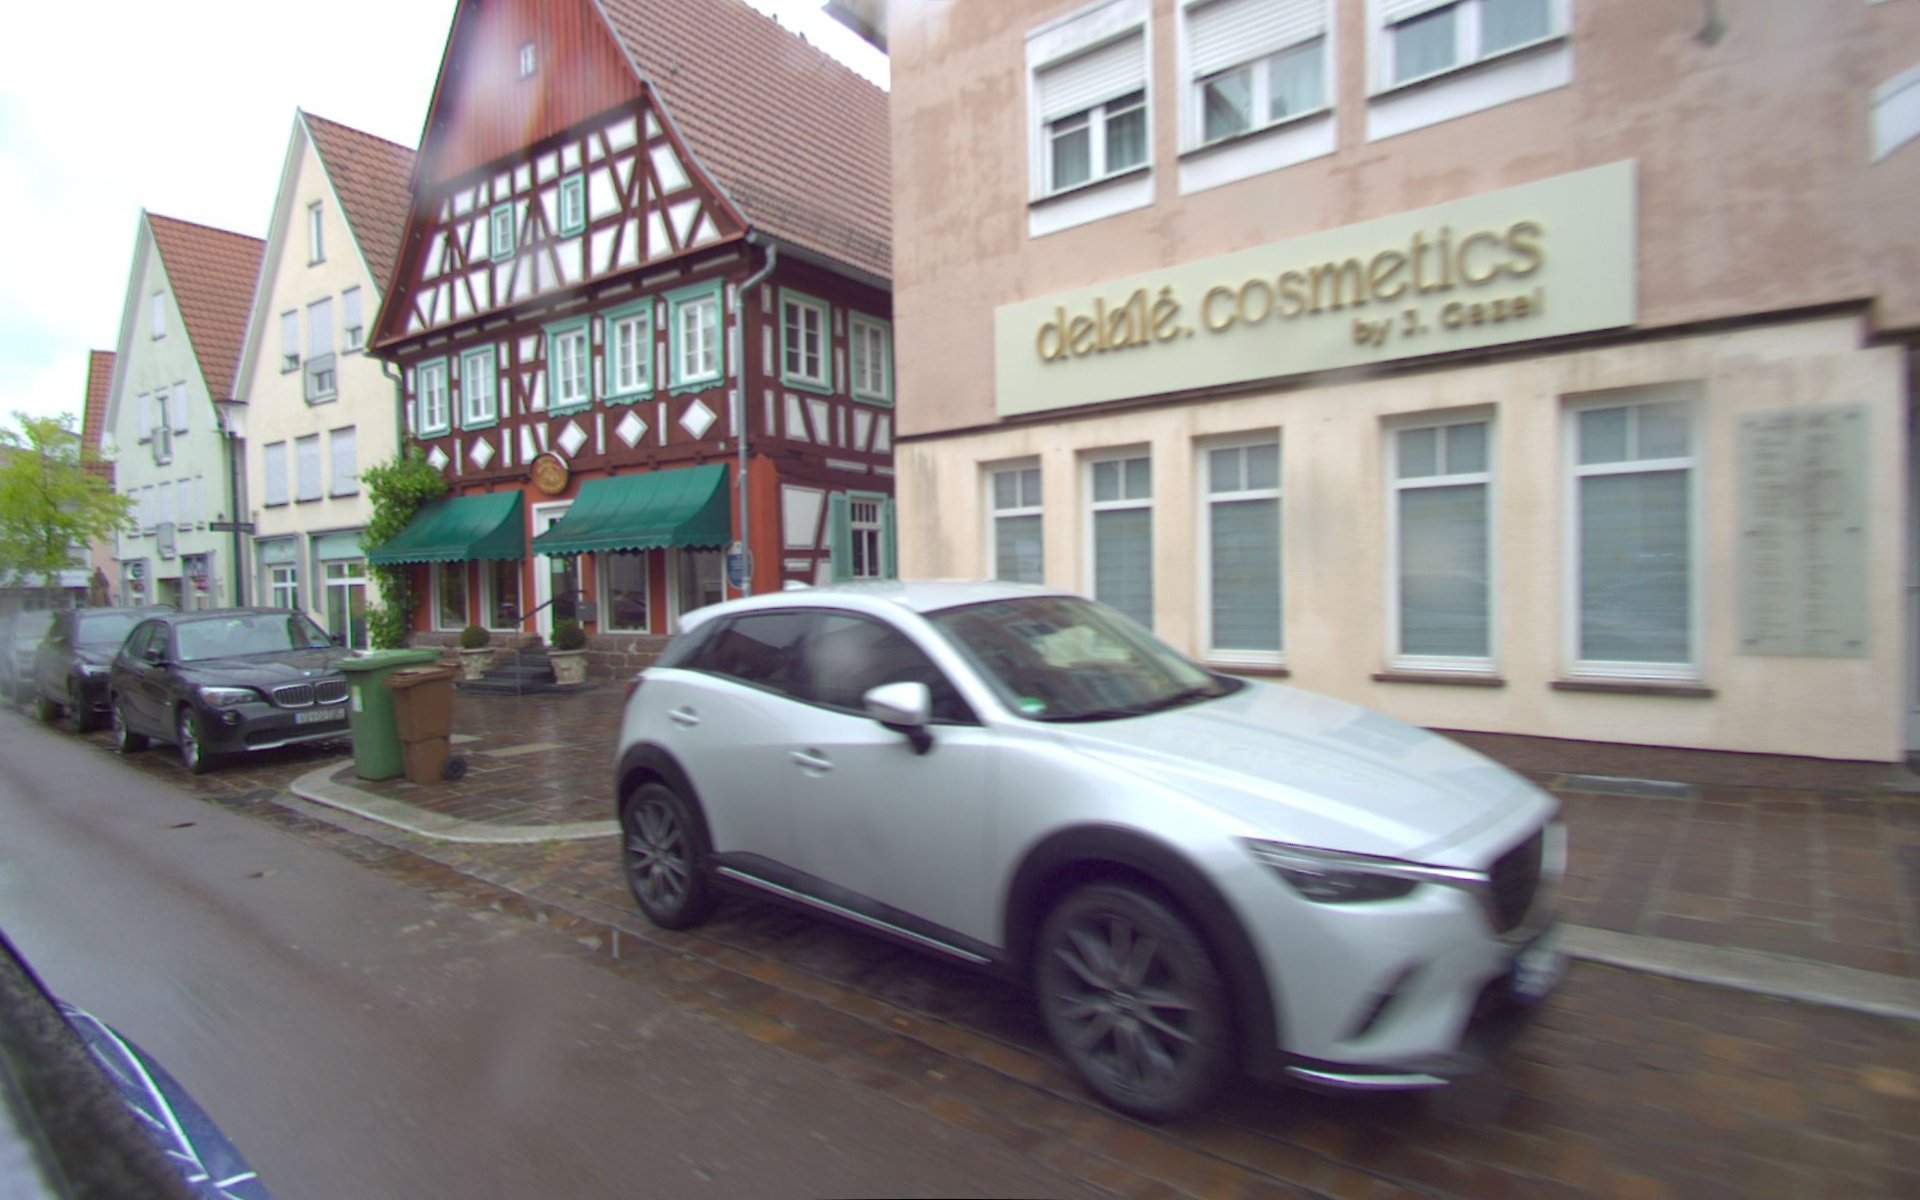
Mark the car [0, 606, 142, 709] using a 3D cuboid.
[{"bbox_3d":[-17.797,1.026,19.949,4.641,1.678,1.805,0,3,41],"label":"car"}]

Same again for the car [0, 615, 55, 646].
[{"bbox_3d":[-52.136,1.691,55.665,1.763,1.479,3.960,-2,2,-13],"label":"car"}]

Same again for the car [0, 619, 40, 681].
[{"bbox_3d":[-26.333,1.377,27.305,4.328,1.535,1.842,-2,2,43],"label":"car"}]

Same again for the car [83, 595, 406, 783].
[{"bbox_3d":[-7.872,0.840,10.978,4.286,1.549,1.762,-2,2,40],"label":"car"}]

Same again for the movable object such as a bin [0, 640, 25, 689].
[{"bbox_3d":[-22.480,1.513,23.673,0.743,1.091,0.739,0,3,38],"label":"movable object such as a bin"}]

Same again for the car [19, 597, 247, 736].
[{"bbox_3d":[-12.335,0.872,14.986,4.640,1.678,1.805,-1,2,41],"label":"car"}]

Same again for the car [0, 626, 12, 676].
[{"bbox_3d":[-30.668,1.618,30.826,4.611,1.453,1.845,-2,1,37],"label":"car"}]

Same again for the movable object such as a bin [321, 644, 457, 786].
[{"bbox_3d":[-4.871,0.955,8.645,0.675,1.090,0.762,-4,0,37],"label":"movable object such as a bin"}]

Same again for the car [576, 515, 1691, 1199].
[{"bbox_3d":[0.267,0.621,4.070,4.121,1.549,1.674,-3,1,43],"label":"car"}]

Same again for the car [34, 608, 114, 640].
[{"bbox_3d":[-53.996,1.405,61.778,1.763,1.651,4.453,-2,2,-14],"label":"car"}]

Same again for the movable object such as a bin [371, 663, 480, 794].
[{"bbox_3d":[-4.357,1.022,8.259,0.498,0.945,0.603,0,3,37],"label":"movable object such as a bin"}]

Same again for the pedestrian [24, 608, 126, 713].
[{"bbox_3d":[-15.362,1.015,17.582,0.790,1.694,1.161,0,3,39],"label":"pedestrian"}]

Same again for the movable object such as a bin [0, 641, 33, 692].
[{"bbox_3d":[-20.743,1.452,22.145,0.534,1.054,0.546,0,2,37],"label":"movable object such as a bin"}]
